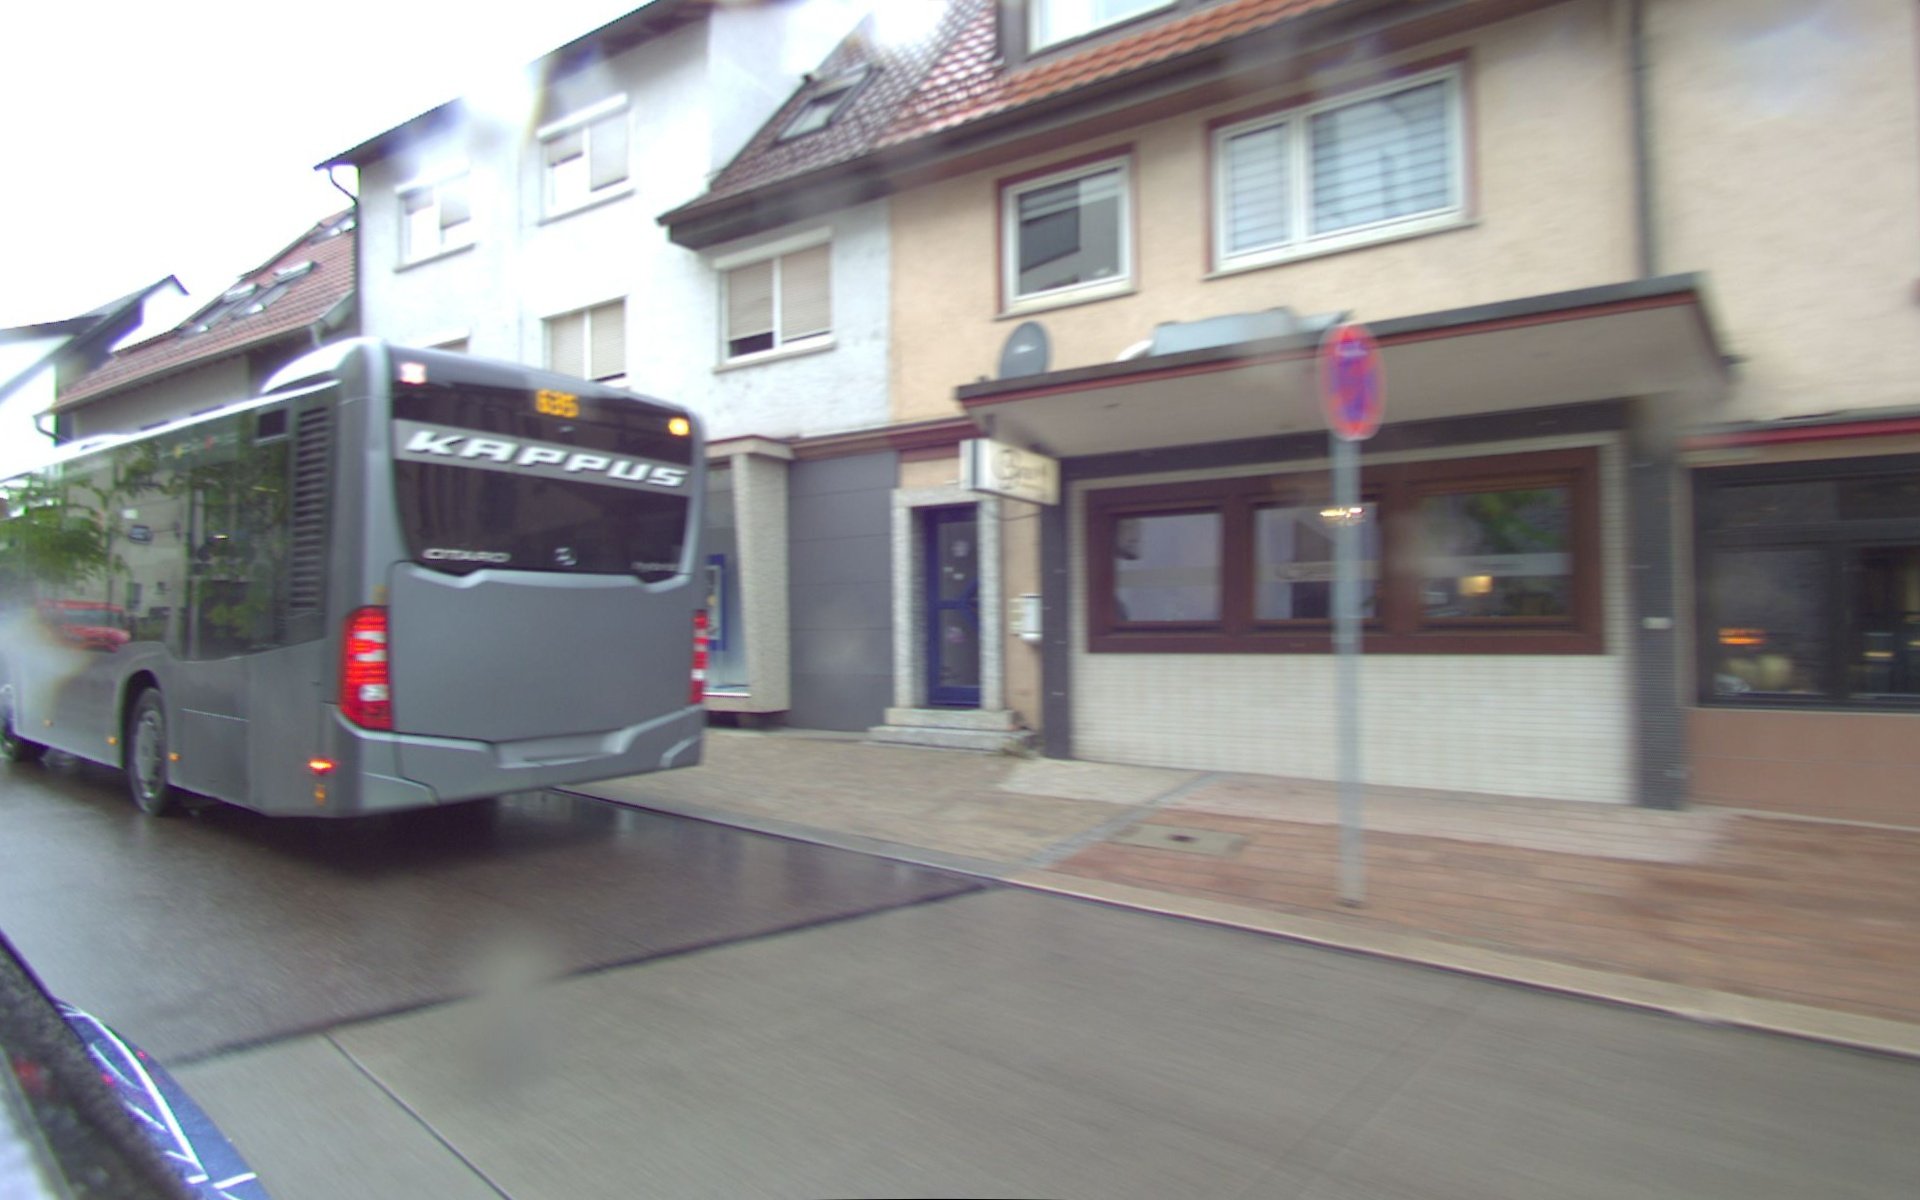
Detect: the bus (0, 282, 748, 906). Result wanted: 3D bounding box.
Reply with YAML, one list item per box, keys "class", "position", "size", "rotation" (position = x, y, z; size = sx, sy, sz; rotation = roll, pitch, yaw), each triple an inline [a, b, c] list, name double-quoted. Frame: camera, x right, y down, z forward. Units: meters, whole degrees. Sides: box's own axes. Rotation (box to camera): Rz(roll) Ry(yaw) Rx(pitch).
- class: "bus"
  position: [-6.697, 0.015, 9.380]
  size: [10.925, 3.103, 2.699]
  rotation: [-1, -1, 36]

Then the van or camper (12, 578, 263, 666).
- class: "van or camper"
  position: [-22.795, 0.505, 28.295]
  size: [1.993, 1.947, 4.988]
  rotation: [0, 4, 31]

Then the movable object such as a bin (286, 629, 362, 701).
- class: "movable object such as a bin"
  position: [-9.983, 1.006, 15.895]
  size: [0.699, 1.067, 0.787]
  rotation: [0, 0, 32]
